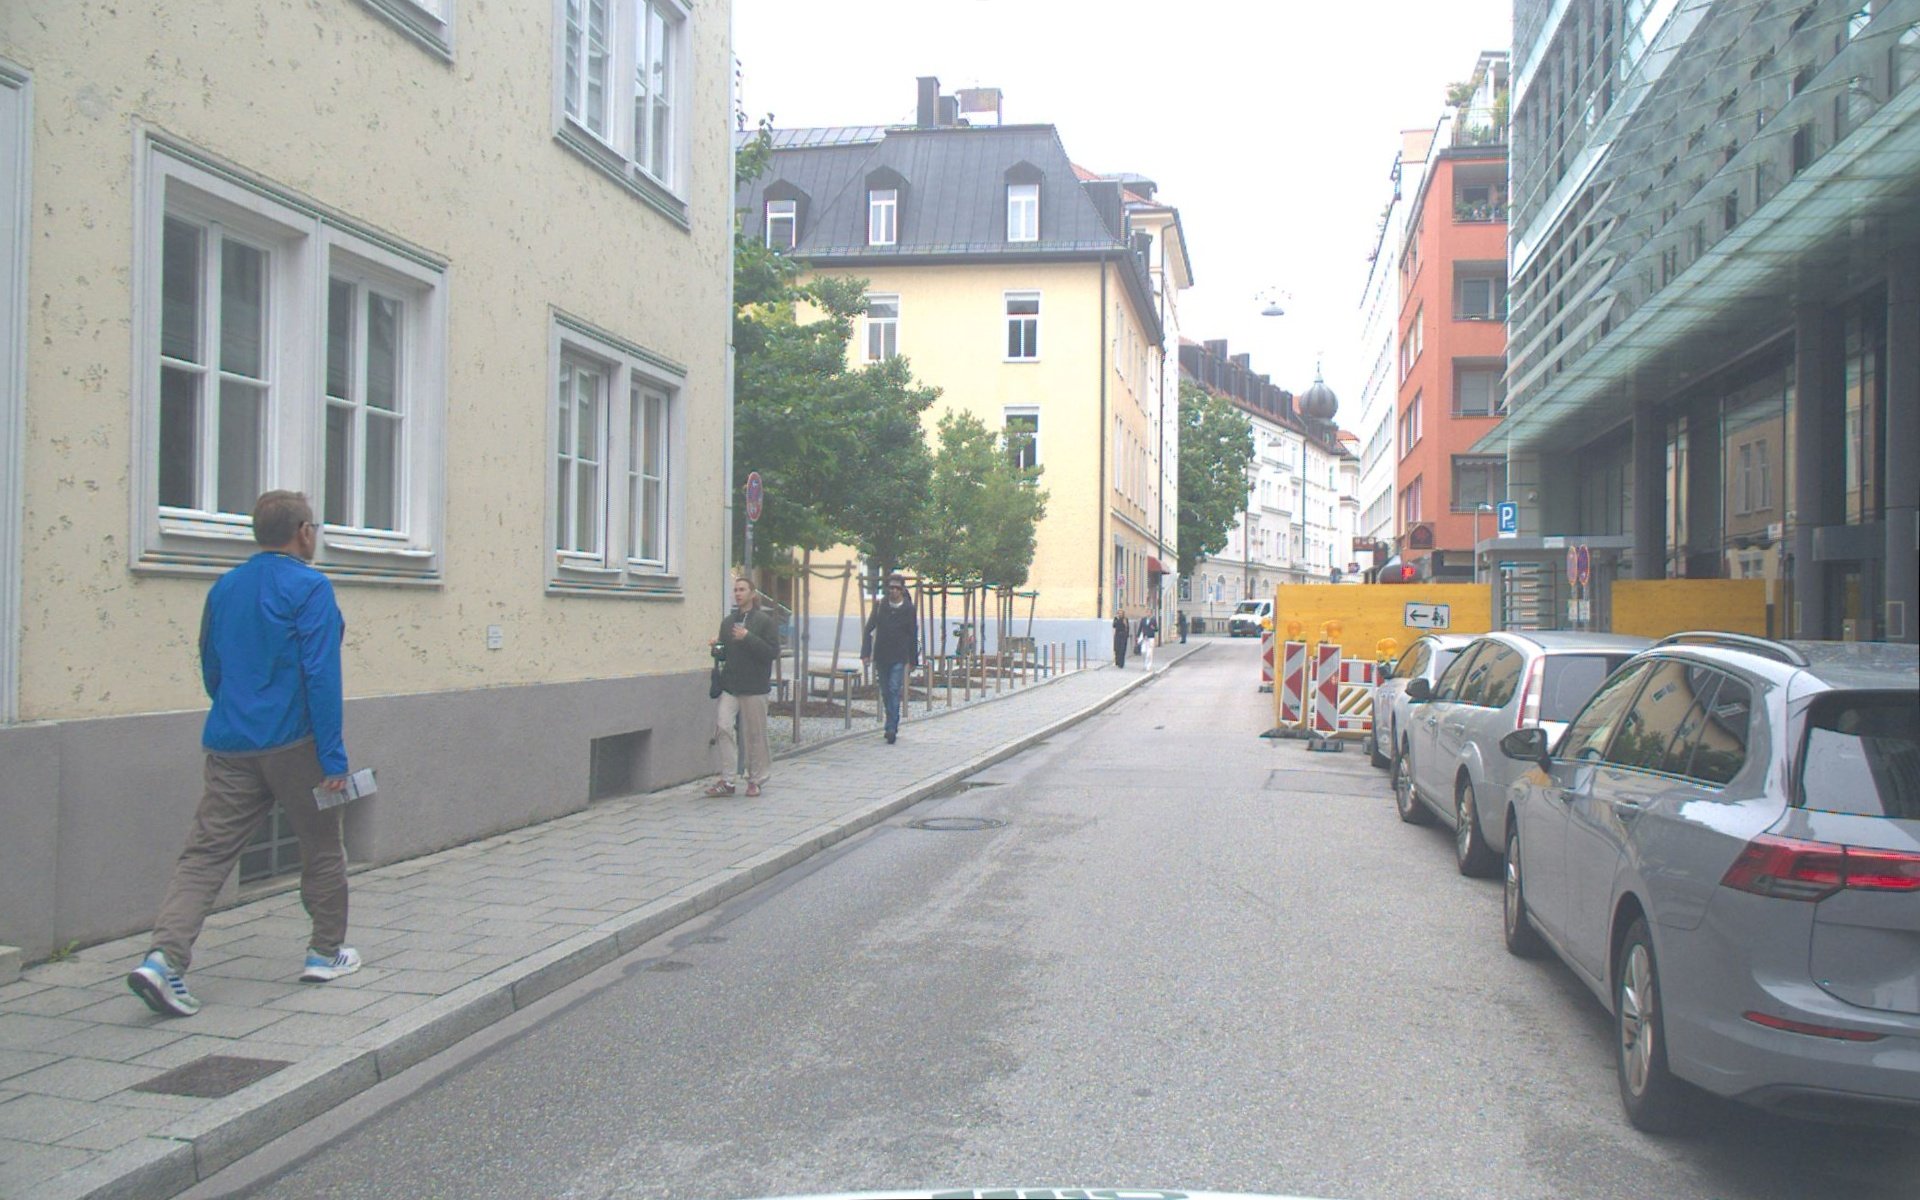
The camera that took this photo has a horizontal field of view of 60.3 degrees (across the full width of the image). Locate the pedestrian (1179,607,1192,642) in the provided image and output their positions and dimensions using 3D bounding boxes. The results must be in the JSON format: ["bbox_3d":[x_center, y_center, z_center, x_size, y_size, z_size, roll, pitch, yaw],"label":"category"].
[{"bbox_3d":[10.960,1.199,80.477,0.505,1.704,0.637,1,-1,1],"label":"pedestrian"}]

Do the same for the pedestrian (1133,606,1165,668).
[{"bbox_3d":[5.386,1.050,47.106,0.821,1.730,0.803,1,-1,10],"label":"pedestrian"}]

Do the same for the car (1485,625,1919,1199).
[{"bbox_3d":[3.048,0.830,5.878,1.671,1.457,4.333,1,-1,10],"label":"car"}]

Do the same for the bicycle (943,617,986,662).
[{"bbox_3d":[0.134,1.067,44.809,0.499,1.164,2.053,1,0,18],"label":"bicycle"}]

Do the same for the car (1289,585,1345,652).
[{"bbox_3d":[14.524,0.735,67.457,1.951,2.581,4.979,1,0,10],"label":"car"}]

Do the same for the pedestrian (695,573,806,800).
[{"bbox_3d":[-1.625,0.657,12.897,0.633,1.706,0.724,1,-1,9],"label":"pedestrian"}]

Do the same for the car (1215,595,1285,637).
[{"bbox_3d":[17.870,0.996,101.753,1.964,2.440,4.963,1,-1,42],"label":"car"}]

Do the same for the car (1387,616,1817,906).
[{"bbox_3d":[4.018,0.894,11.087,1.671,1.493,4.240,2,-1,7],"label":"car"}]

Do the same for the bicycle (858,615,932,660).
[{"bbox_3d":[-1.850,1.067,46.991,2.000,1.218,0.570,1,-1,18],"label":"bicycle"}]

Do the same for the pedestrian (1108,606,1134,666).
[{"bbox_3d":[4.627,1.032,47.406,0.656,1.677,0.762,1,-1,10],"label":"pedestrian"}]

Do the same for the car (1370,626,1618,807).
[{"bbox_3d":[5.038,1.008,16.149,1.671,1.438,4.513,2,-1,10],"label":"car"}]

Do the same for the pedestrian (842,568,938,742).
[{"bbox_3d":[-0.788,0.618,18.978,0.849,1.914,1.136,1,-1,9],"label":"pedestrian"}]

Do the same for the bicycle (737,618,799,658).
[{"bbox_3d":[-5.505,1.087,47.396,1.621,1.088,0.598,2,-1,15],"label":"bicycle"}]

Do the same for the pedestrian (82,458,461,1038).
[{"bbox_3d":[-2.449,0.485,6.014,0.741,1.887,1.078,2,-1,10],"label":"pedestrian"}]
